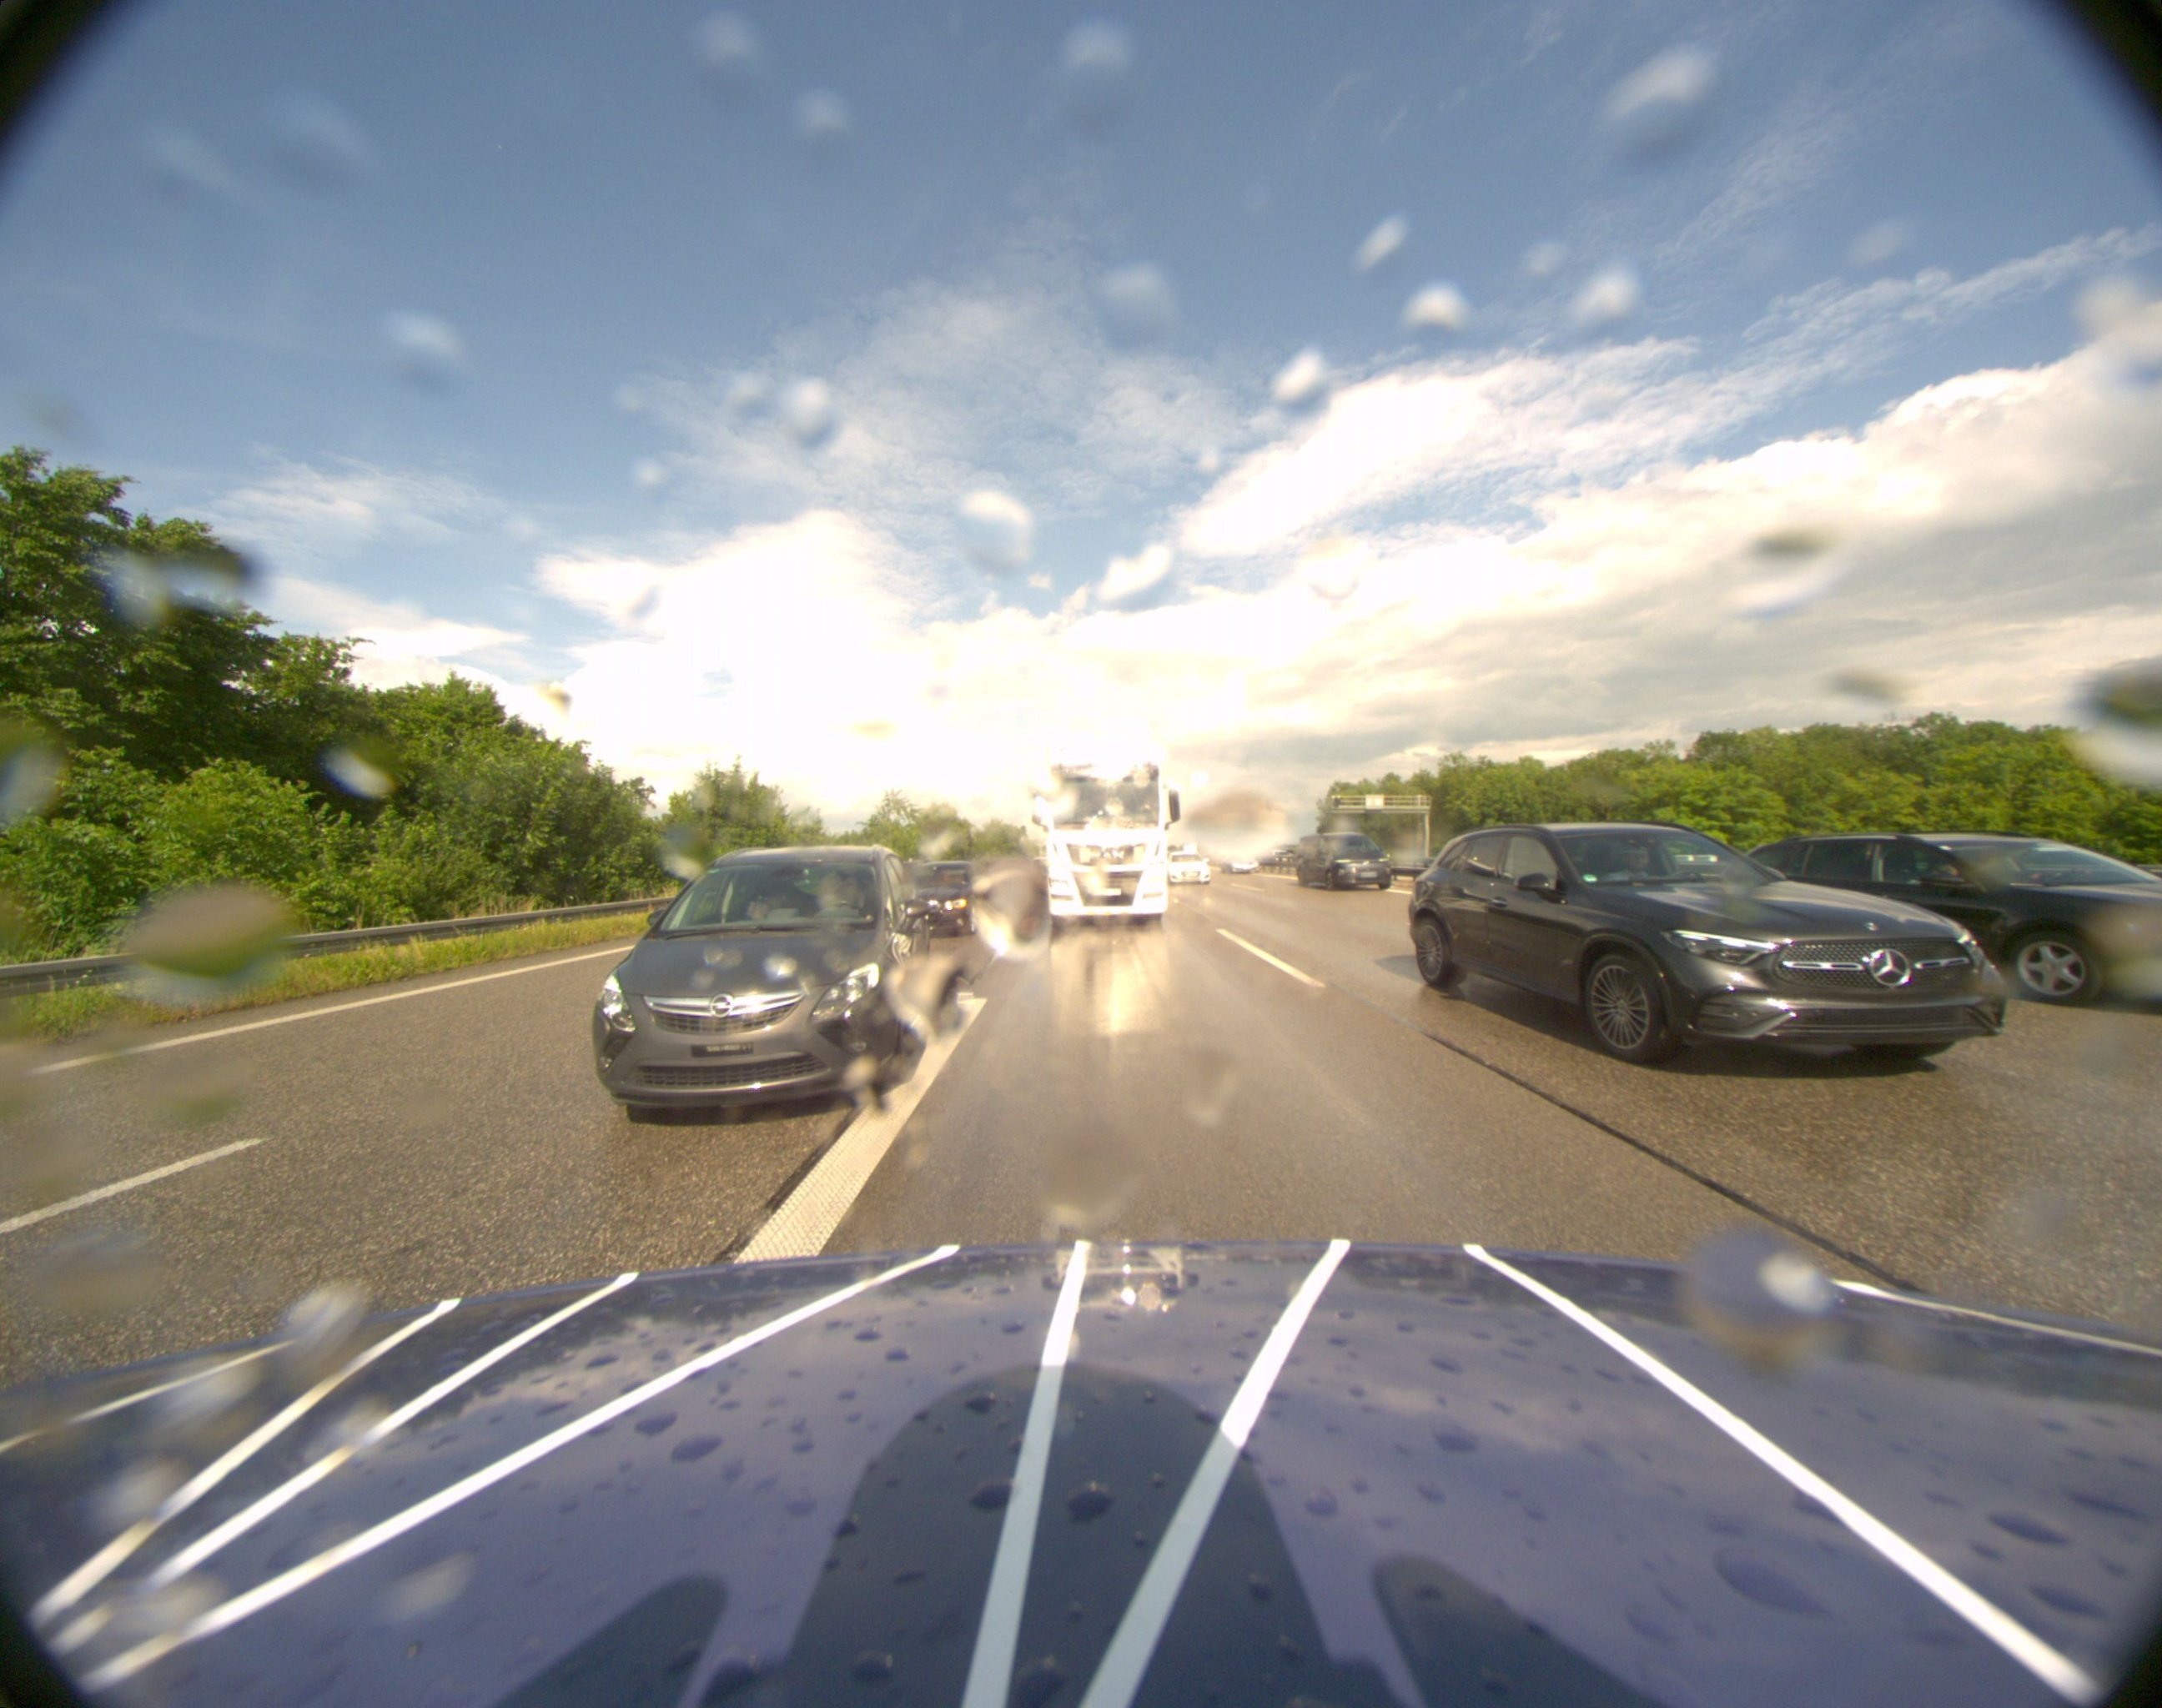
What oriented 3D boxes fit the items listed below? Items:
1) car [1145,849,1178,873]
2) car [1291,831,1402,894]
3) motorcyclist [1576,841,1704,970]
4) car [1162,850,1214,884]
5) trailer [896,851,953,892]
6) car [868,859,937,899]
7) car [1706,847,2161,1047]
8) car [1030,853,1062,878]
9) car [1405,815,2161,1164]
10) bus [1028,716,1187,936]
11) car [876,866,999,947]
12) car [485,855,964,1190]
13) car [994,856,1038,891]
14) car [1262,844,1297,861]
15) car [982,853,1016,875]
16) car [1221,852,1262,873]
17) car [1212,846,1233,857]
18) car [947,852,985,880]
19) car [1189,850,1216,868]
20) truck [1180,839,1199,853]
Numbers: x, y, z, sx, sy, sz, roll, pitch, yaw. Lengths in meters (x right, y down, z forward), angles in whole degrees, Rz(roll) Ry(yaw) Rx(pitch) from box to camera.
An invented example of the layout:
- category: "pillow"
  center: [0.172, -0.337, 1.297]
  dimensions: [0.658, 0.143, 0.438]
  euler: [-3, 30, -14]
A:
- category: "car"
  center: [5.023, 0.431, 47.558]
  dimensions: [1.597, 1.390, 3.999]
  euler: [-2, 1, 0]
- category: "car"
  center: [9.103, 0.246, 26.613]
  dimensions: [1.998, 1.906, 5.235]
  euler: [-2, 1, 0]
- category: "motorcyclist"
  center: [7.068, 0.611, 9.664]
  dimensions: [0.798, 1.528, 1.093]
  euler: [-2, 1, 0]
- category: "car"
  center: [4.757, 0.541, 34.333]
  dimensions: [1.809, 1.389, 4.240]
  euler: [-1, 1, 1]
- category: "trailer"
  center: [-7.217, 0.755, 35.414]
  dimensions: [1.810, 1.736, 3.967]
  euler: [-3, 1, 0]
- category: "car"
  center: [-7.232, 0.959, 31.223]
  dimensions: [1.747, 1.422, 4.404]
  euler: [-2, 1, 0]
- category: "car"
  center: [8.871, 0.666, 7.414]
  dimensions: [1.925, 1.416, 4.371]
  euler: [-2, 1, 0]
- category: "car"
  center: [-2.172, 0.685, 48.240]
  dimensions: [1.858, 1.434, 3.999]
  euler: [-2, 1, -1]
- category: "car"
  center: [4.491, 0.651, 6.040]
  dimensions: [1.881, 1.669, 4.626]
  euler: [-2, 1, 1]
- category: "bus"
  center: [0.557, -0.562, 19.498]
  dimensions: [2.904, 4.104, 9.844]
  euler: [-2, 0, 1]
- category: "car"
  center: [-2.813, 0.982, 15.756]
  dimensions: [1.722, 1.346, 3.884]
  euler: [-2, 0, 1]
- category: "car"
  center: [-2.182, 0.864, 6.281]
  dimensions: [1.859, 1.622, 4.734]
  euler: [-2, 0, -3]
- category: "car"
  center: [-2.790, 0.814, 33.256]
  dimensions: [1.744, 1.357, 3.998]
  euler: [-2, 0, -3]
- category: "car"
  center: [17.389, -0.152, 66.572]
  dimensions: [1.867, 1.383, 3.999]
  euler: [-2, 1, -2]
- category: "car"
  center: [-5.578, 0.653, 52.344]
  dimensions: [1.771, 1.343, 4.579]
  euler: [-2, 1, 1]
- category: "car"
  center: [9.776, 0.498, 46.597]
  dimensions: [1.857, 1.182, 3.583]
  euler: [-2, 1, 2]
- category: "car"
  center: [17.630, -0.333, 94.749]
  dimensions: [1.872, 1.346, 4.493]
  euler: [-2, 0, 1]
- category: "car"
  center: [-6.445, 0.650, 42.824]
  dimensions: [1.616, 1.480, 3.480]
  euler: [-2, 1, -1]
- category: "car"
  center: [10.031, 0.400, 62.986]
  dimensions: [1.618, 1.412, 4.000]
  euler: [-2, 0, 1]
- category: "truck"
  center: [23.902, -1.813, 168.010]
  dimensions: [2.923, 2.970, 8.720]
  euler: [-2, 1, 0]
